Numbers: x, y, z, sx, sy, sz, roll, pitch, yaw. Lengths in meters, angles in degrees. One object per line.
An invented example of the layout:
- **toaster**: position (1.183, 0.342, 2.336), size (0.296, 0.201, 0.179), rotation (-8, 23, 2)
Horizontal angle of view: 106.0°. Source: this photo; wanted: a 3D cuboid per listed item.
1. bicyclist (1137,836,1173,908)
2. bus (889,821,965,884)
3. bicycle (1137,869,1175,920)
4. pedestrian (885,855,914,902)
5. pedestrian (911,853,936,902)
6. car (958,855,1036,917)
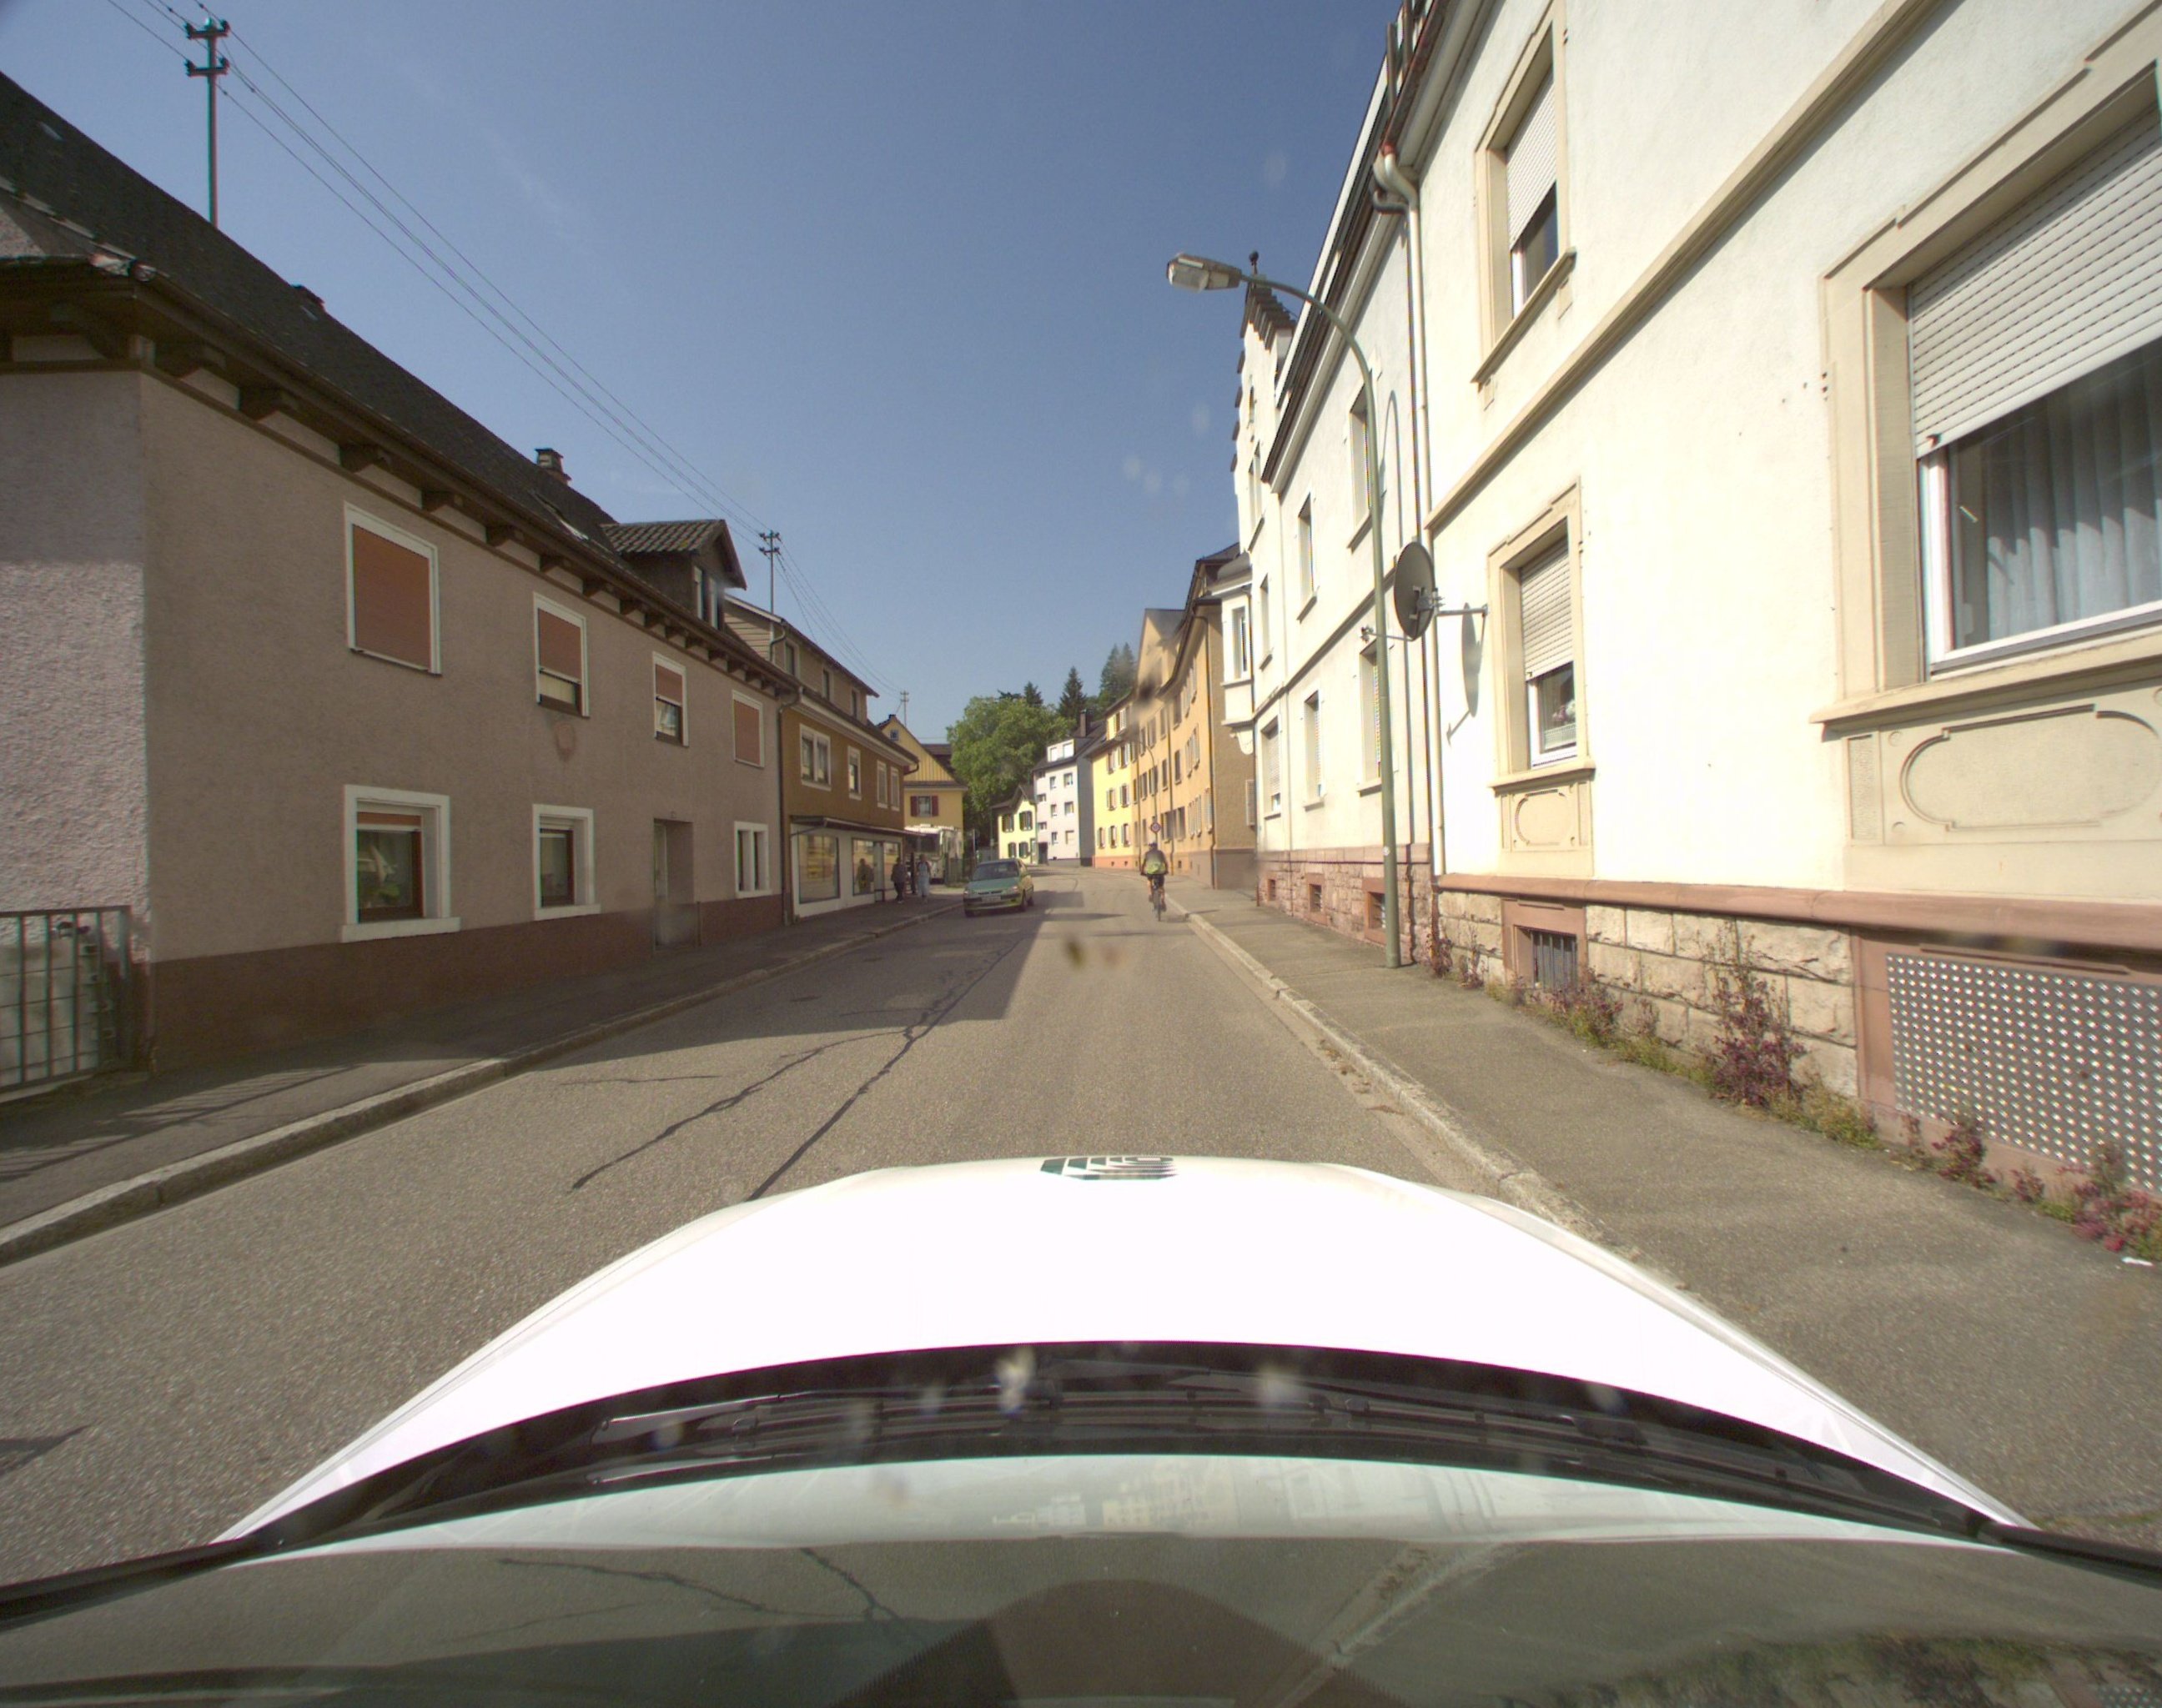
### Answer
- **bicyclist**: position (1.651, 0.394, 18.211), size (0.683, 1.531, 0.715), rotation (-3, 0, -1)
- **bus**: position (-8.595, -0.066, 46.538), size (2.812, 3.228, 9.030), rotation (0, 0, -2)
- **bicycle**: position (1.665, 0.891, 18.301), size (0.696, 1.035, 1.471), rotation (-1, 0, 0)
- **pedestrian**: position (-6.118, 0.819, 27.486), size (0.732, 1.564, 0.825), rotation (1, 0, 2)
- **pedestrian**: position (-5.288, 0.775, 27.445), size (0.637, 1.626, 0.777), rotation (1, 0, 2)
- **car**: position (-2.265, 0.824, 22.861), size (1.591, 1.464, 3.661), rotation (-5, 0, 2)
